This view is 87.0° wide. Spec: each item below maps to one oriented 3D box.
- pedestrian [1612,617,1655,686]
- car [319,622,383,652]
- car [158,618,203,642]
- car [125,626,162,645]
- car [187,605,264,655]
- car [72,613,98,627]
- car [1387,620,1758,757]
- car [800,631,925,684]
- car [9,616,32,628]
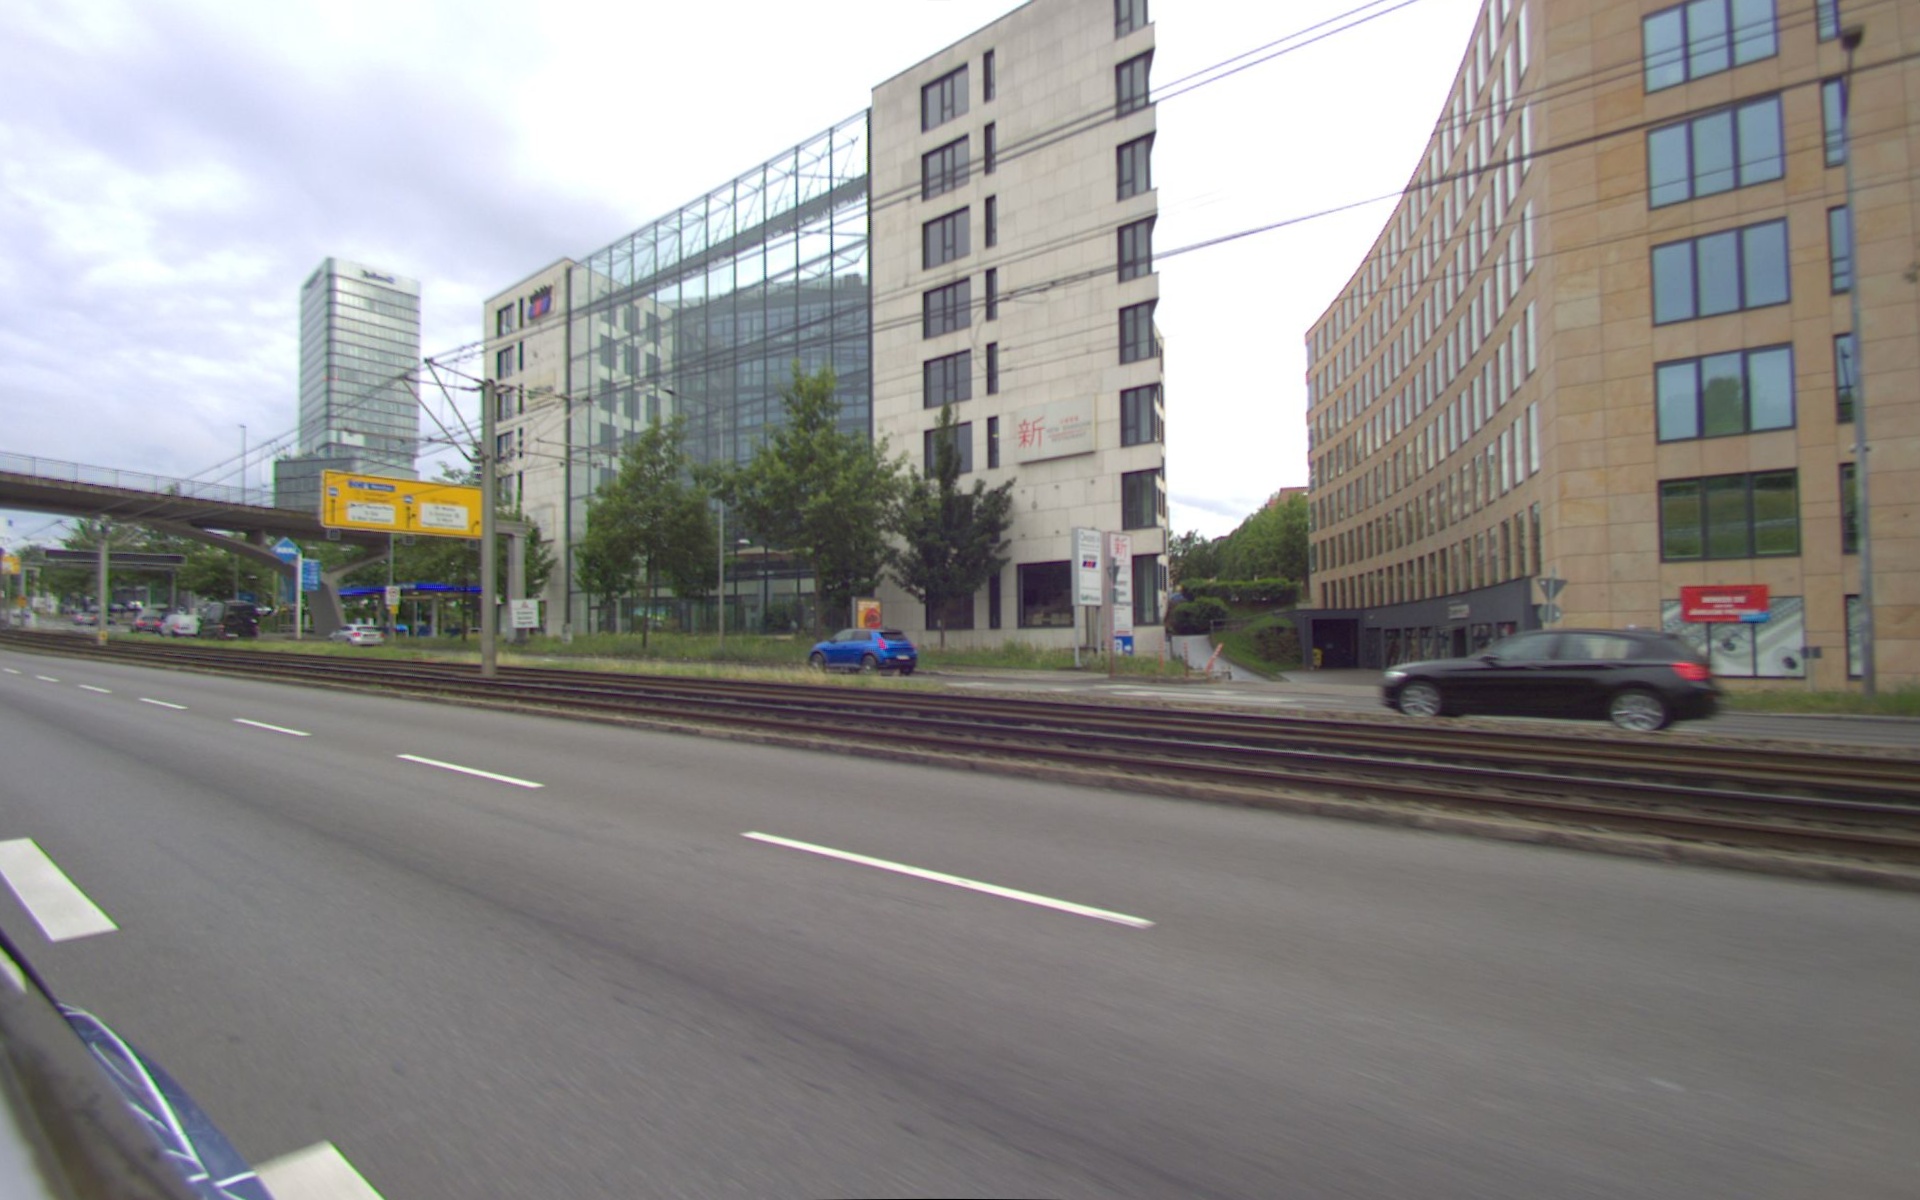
[{"bbox_3d":[16.661,1.250,25.025,0.831,1.644,0.635,1,1,38],"label":"pedestrian"},{"bbox_3d":[-34.057,2.022,56.537,4.816,1.545,1.741,-1,-1,42],"label":"car"},{"bbox_3d":[-60.618,2.335,78.668,5.062,1.775,1.917,-1,-1,43],"label":"car"},{"bbox_3d":[-73.469,3.166,91.047,4.488,1.618,1.791,-1,-1,41],"label":"car"},{"bbox_3d":[-44.328,1.765,61.037,5.605,2.839,2.360,-1,0,39],"label":"car"},{"bbox_3d":[-98.149,2.229,113.501,4.275,1.545,1.790,-1,-1,43],"label":"car"},{"bbox_3d":[8.457,1.100,14.216,4.200,1.513,1.753,1,1,43],"label":"car"},{"bbox_3d":[-3.221,1.825,33.052,4.023,1.465,1.821,1,1,42],"label":"car"},{"bbox_3d":[-135.697,3.190,146.099,4.654,1.509,1.900,-1,-5,41],"label":"car"}]
